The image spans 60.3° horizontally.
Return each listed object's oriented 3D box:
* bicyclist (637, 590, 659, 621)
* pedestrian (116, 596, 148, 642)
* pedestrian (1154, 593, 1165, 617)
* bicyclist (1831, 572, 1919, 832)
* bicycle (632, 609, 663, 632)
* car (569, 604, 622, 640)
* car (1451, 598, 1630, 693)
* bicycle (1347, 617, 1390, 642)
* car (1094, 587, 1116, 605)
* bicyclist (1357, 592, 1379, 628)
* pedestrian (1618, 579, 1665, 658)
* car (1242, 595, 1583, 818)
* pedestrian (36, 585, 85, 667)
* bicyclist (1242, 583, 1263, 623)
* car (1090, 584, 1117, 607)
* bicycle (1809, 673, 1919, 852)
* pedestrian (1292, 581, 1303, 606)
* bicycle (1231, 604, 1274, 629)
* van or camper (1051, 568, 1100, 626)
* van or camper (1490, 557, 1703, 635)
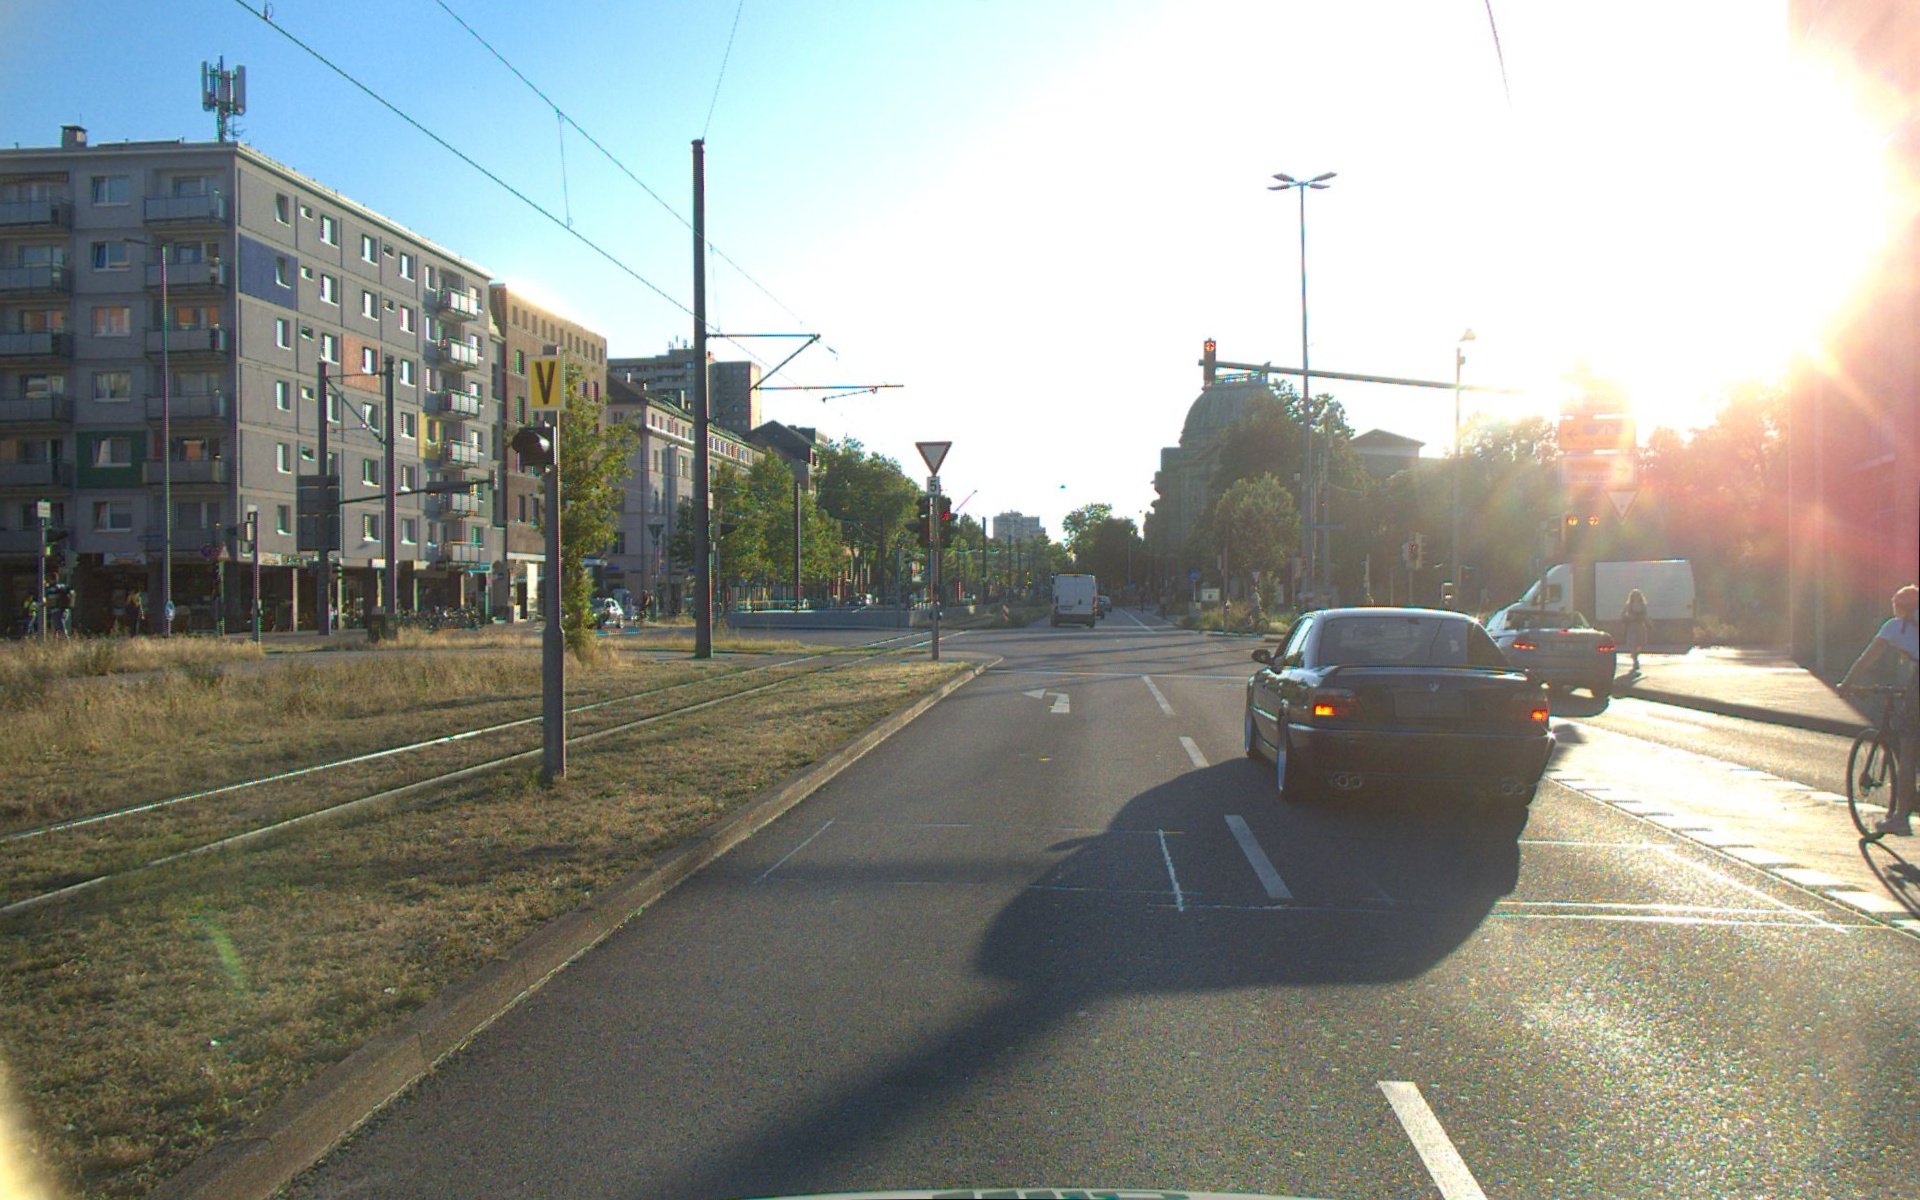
[{"bbox_3d":[-14.948,0.259,79.247,0.647,1.467,0.857,2,1,17],"label":"bicyclist"},{"bbox_3d":[-30.922,0.704,61.771,0.726,1.698,0.780,0,1,34],"label":"pedestrian"},{"bbox_3d":[12.718,0.299,105.403,0.603,1.501,0.801,-1,1,9],"label":"pedestrian"},{"bbox_3d":[5.900,0.599,10.088,0.641,1.509,1.038,1,0,3],"label":"bicyclist"},{"bbox_3d":[-14.970,0.984,79.269,0.687,0.986,1.735,3,2,17],"label":"bicycle"},{"bbox_3d":[-16.928,0.997,76.906,1.678,1.459,3.999,1,2,-2],"label":"car"},{"bbox_3d":[9.607,0.704,27.708,1.746,1.377,4.269,1,1,4],"label":"car"},{"bbox_3d":[16.884,1.221,68.364,1.682,0.987,0.610,0,1,16],"label":"bicycle"},{"bbox_3d":[13.524,-0.410,154.529,1.757,1.593,4.001,-1,1,1],"label":"car"},{"bbox_3d":[16.867,0.409,68.345,0.835,1.467,0.664,-1,1,15],"label":"bicyclist"},{"bbox_3d":[13.992,0.368,33.985,0.662,1.597,0.800,-1,1,3],"label":"pedestrian"},{"bbox_3d":[3.375,0.693,13.232,1.791,1.377,4.644,1,1,5],"label":"car"},{"bbox_3d":[-20.134,0.571,37.028,0.705,1.793,0.649,0,1,26],"label":"pedestrian"},{"bbox_3d":[11.887,0.118,67.280,0.780,1.598,0.664,-1,1,7],"label":"bicyclist"},{"bbox_3d":[9.439,-0.296,108.285,1.700,1.410,4.003,-1,1,5],"label":"car"},{"bbox_3d":[5.908,0.991,10.181,0.504,0.971,1.776,1,1,3],"label":"bicycle"},{"bbox_3d":[22.467,-0.455,110.136,0.667,1.639,0.613,-1,1,5],"label":"pedestrian"},{"bbox_3d":[11.914,0.680,67.286,1.691,0.987,0.610,0,1,7],"label":"bicycle"},{"bbox_3d":[5.675,-0.190,80.709,2.215,2.670,4.506,-1,1,6],"label":"van or camper"},{"bbox_3d":[23.297,-0.176,60.823,6.893,2.721,2.600,-1,1,7],"label":"van or camper"}]
